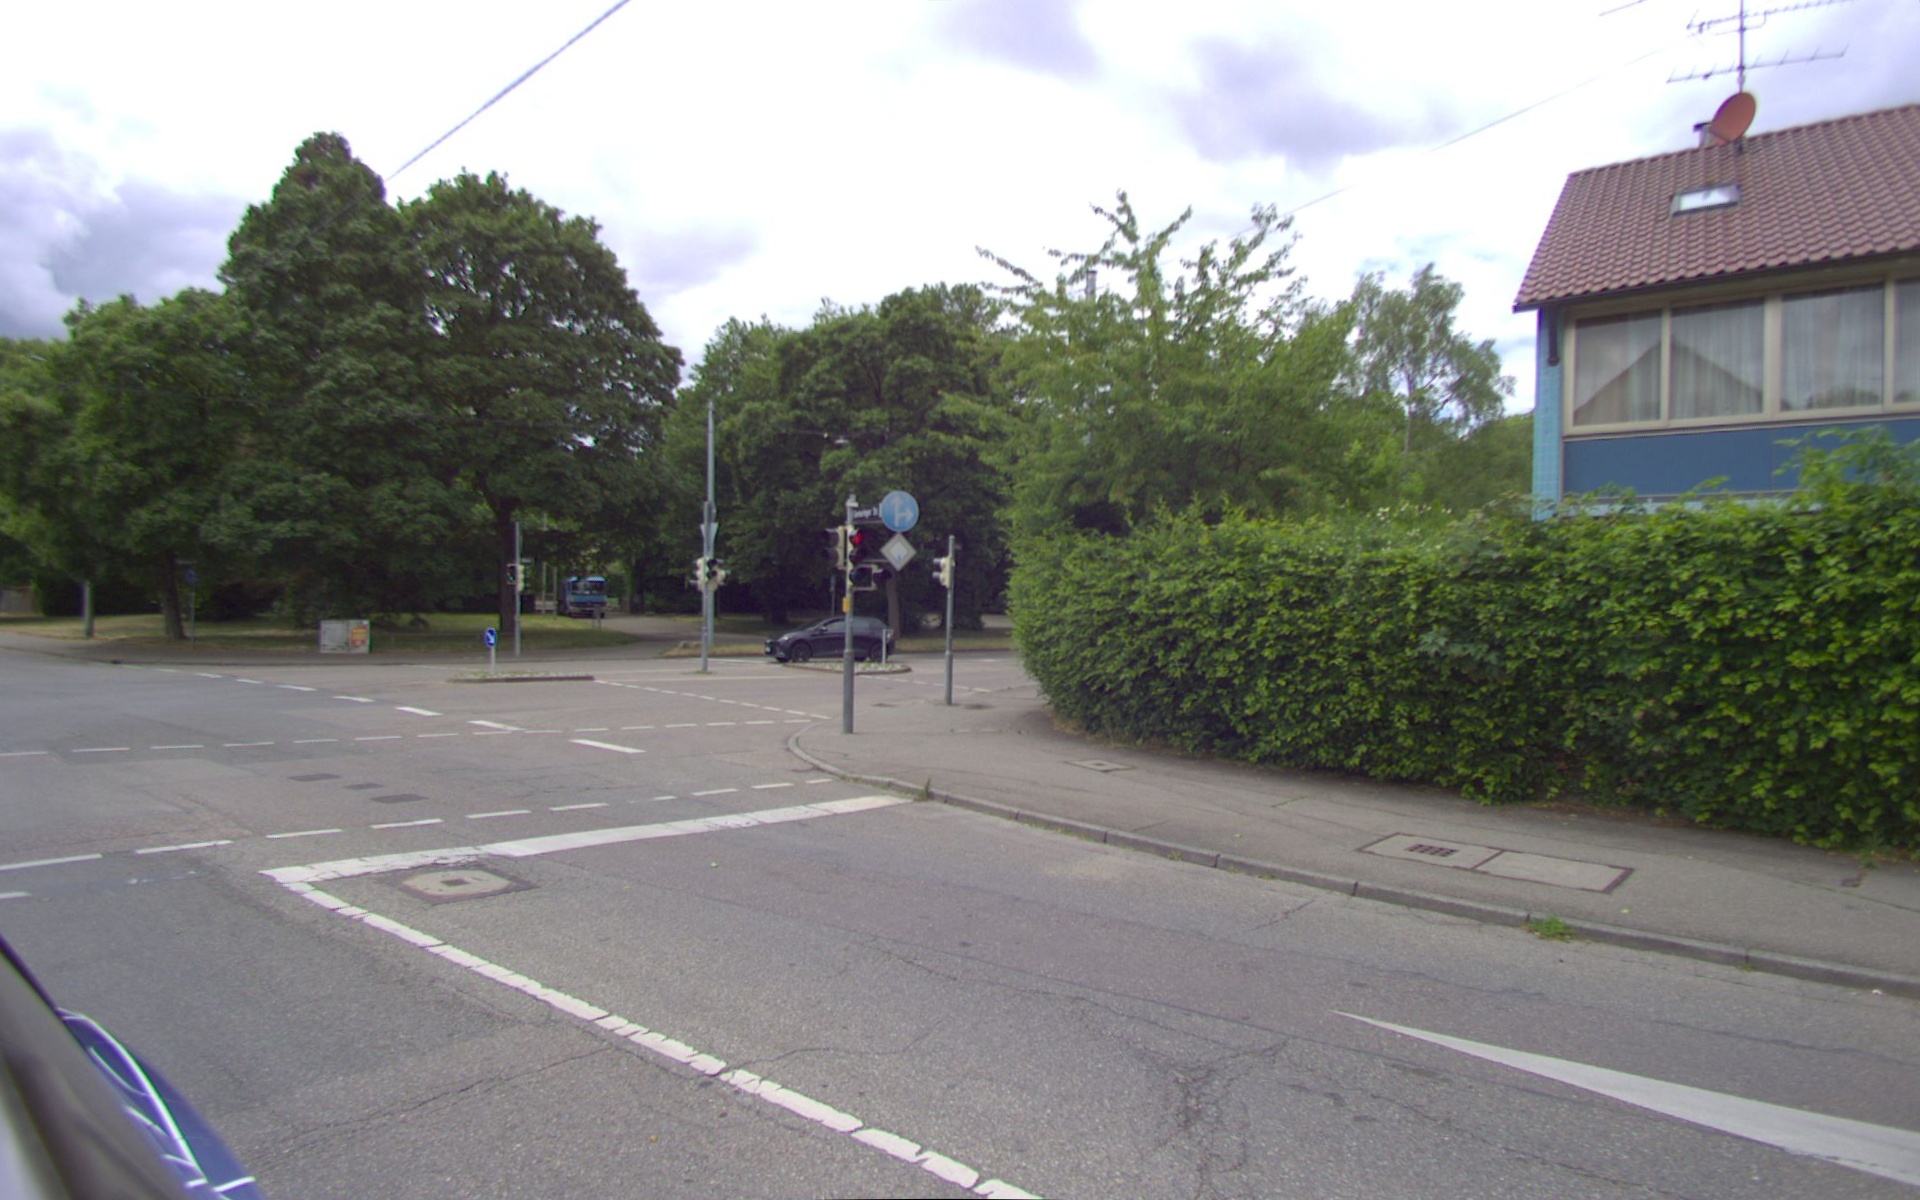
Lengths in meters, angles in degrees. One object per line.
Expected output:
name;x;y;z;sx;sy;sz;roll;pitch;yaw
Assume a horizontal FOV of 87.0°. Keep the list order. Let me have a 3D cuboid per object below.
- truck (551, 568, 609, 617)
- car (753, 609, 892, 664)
truck;-24.057;-0.482;63.859;2.440;2.869;7.457;1;0;-28
car;-4.407;1.120;32.427;3.931;1.630;2.006;0;0;-29
